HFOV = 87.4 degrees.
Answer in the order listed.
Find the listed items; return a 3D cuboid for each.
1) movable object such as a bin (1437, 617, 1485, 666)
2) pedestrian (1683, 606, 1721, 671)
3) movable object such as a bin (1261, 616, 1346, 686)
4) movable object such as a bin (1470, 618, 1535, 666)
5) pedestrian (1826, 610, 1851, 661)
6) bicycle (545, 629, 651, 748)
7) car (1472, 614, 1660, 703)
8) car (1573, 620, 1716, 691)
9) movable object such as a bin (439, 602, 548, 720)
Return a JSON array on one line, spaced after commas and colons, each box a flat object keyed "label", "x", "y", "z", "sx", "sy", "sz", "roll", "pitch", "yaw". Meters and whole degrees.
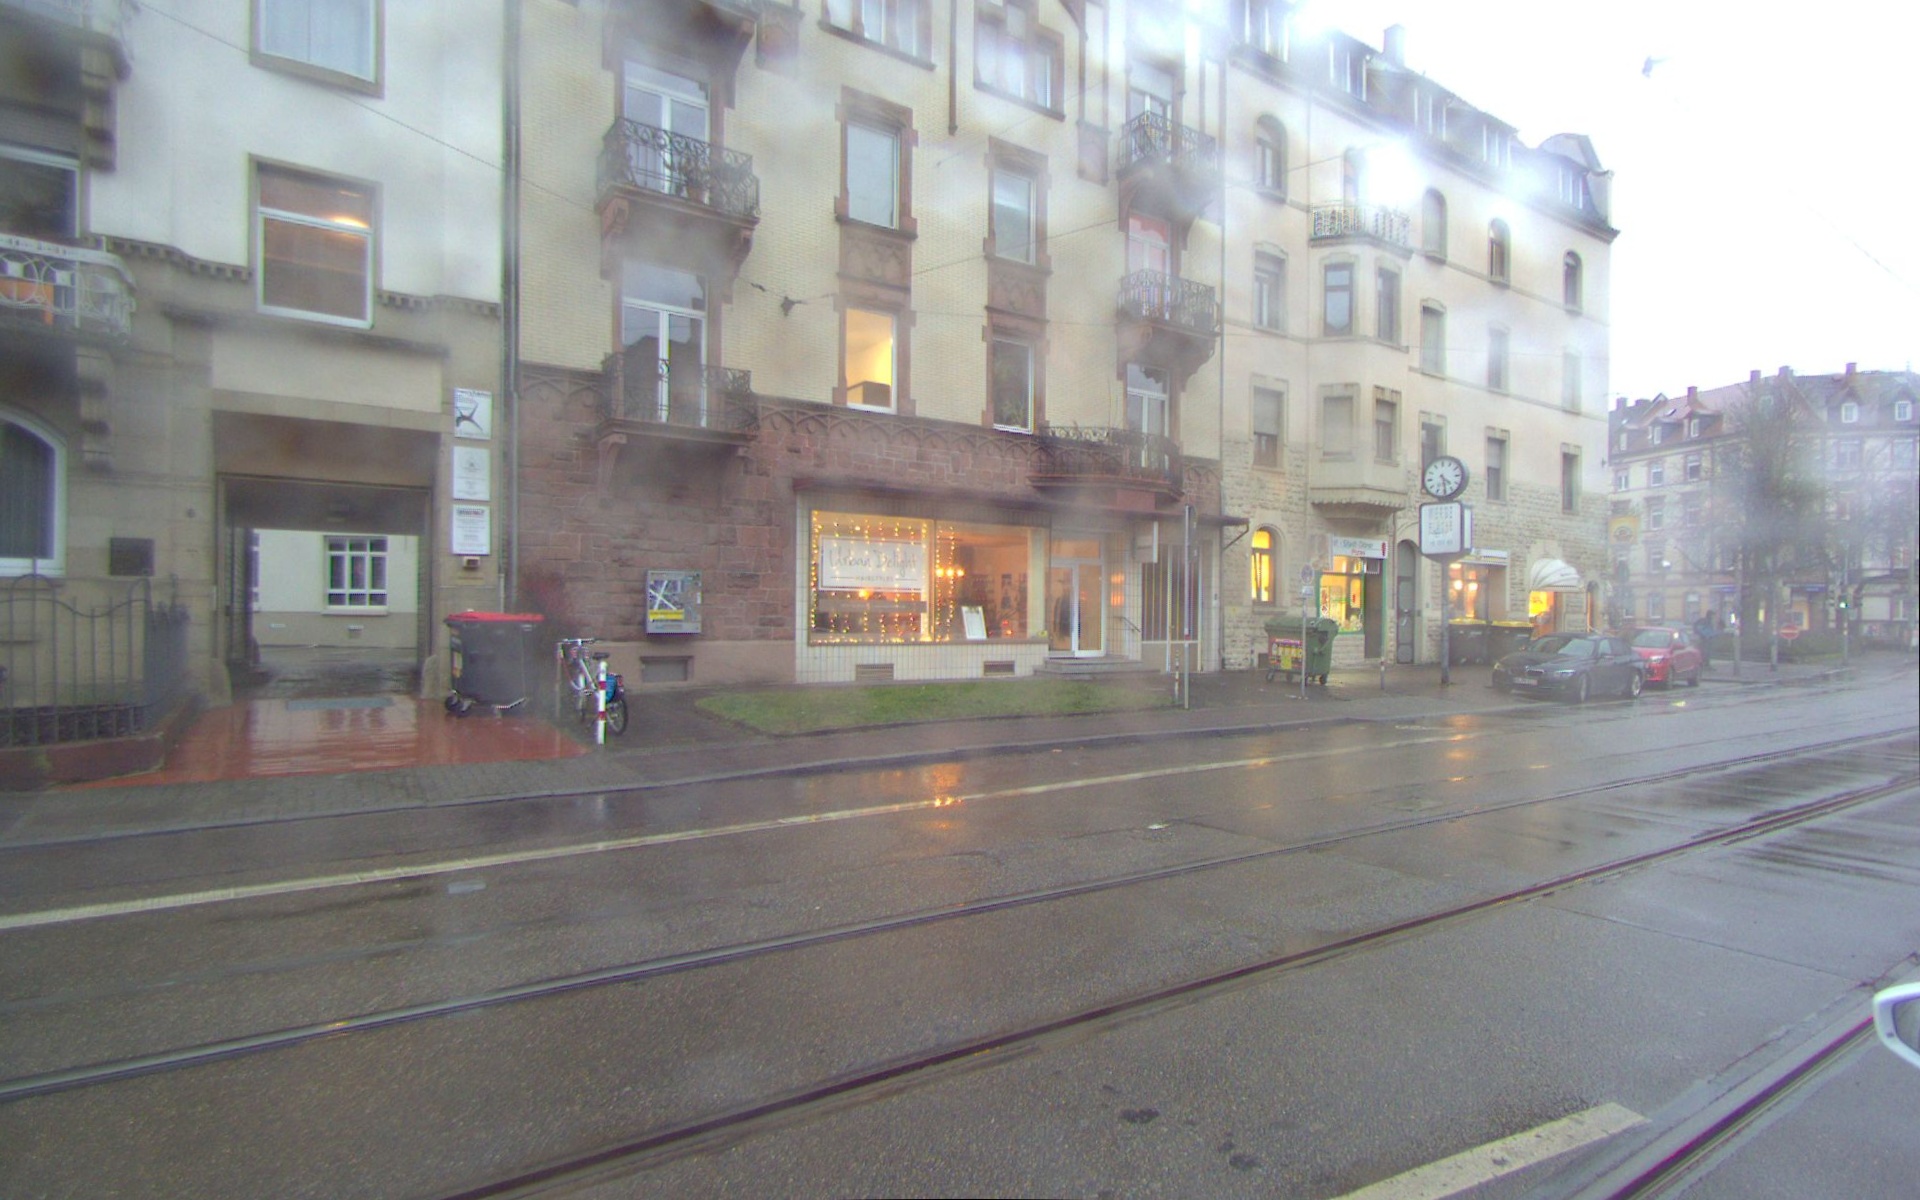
[{"label": "movable object such as a bin", "x": 14.936, "y": 1.226, "z": 29.934, "sx": 0.996, "sy": 1.396, "sz": 0.893, "roll": 1, "pitch": 0, "yaw": -33}, {"label": "pedestrian", "x": 23.750, "y": 1.218, "z": 32.174, "sx": 0.635, "sy": 2.040, "sz": 0.758, "roll": 1, "pitch": 0, "yaw": 3}, {"label": "movable object such as a bin", "x": 7.472, "y": 1.084, "z": 21.884, "sx": 1.236, "sy": 1.439, "sz": 1.260, "roll": 1, "pitch": 0, "yaw": -33}, {"label": "movable object such as a bin", "x": 16.305, "y": 1.254, "z": 30.190, "sx": 1.239, "sy": 1.385, "sz": 1.286, "roll": 1, "pitch": 0, "yaw": -34}, {"label": "pedestrian", "x": 35.458, "y": 1.428, "z": 40.530, "sx": 0.695, "sy": 2.040, "sz": 0.658, "roll": 0, "pitch": 0, "yaw": 37}, {"label": "bicycle", "x": -4.287, "y": 0.972, "z": 11.765, "sx": 0.687, "sy": 1.120, "sz": 2.336, "roll": 1, "pitch": 1, "yaw": -32}, {"label": "car", "x": 13.870, "y": 1.293, "z": 22.900, "sx": 4.587, "sy": 1.667, "sz": 1.972, "roll": 2, "pitch": 3, "yaw": -37}, {"label": "car", "x": 18.266, "y": 1.415, "z": 26.748, "sx": 3.997, "sy": 1.573, "sz": 2.021, "roll": 0, "pitch": 3, "yaw": -39}, {"label": "movable object such as a bin", "x": -6.109, "y": 0.764, "z": 13.144, "sx": 1.155, "sy": 1.398, "sz": 1.096, "roll": 1, "pitch": 2, "yaw": -32}]
